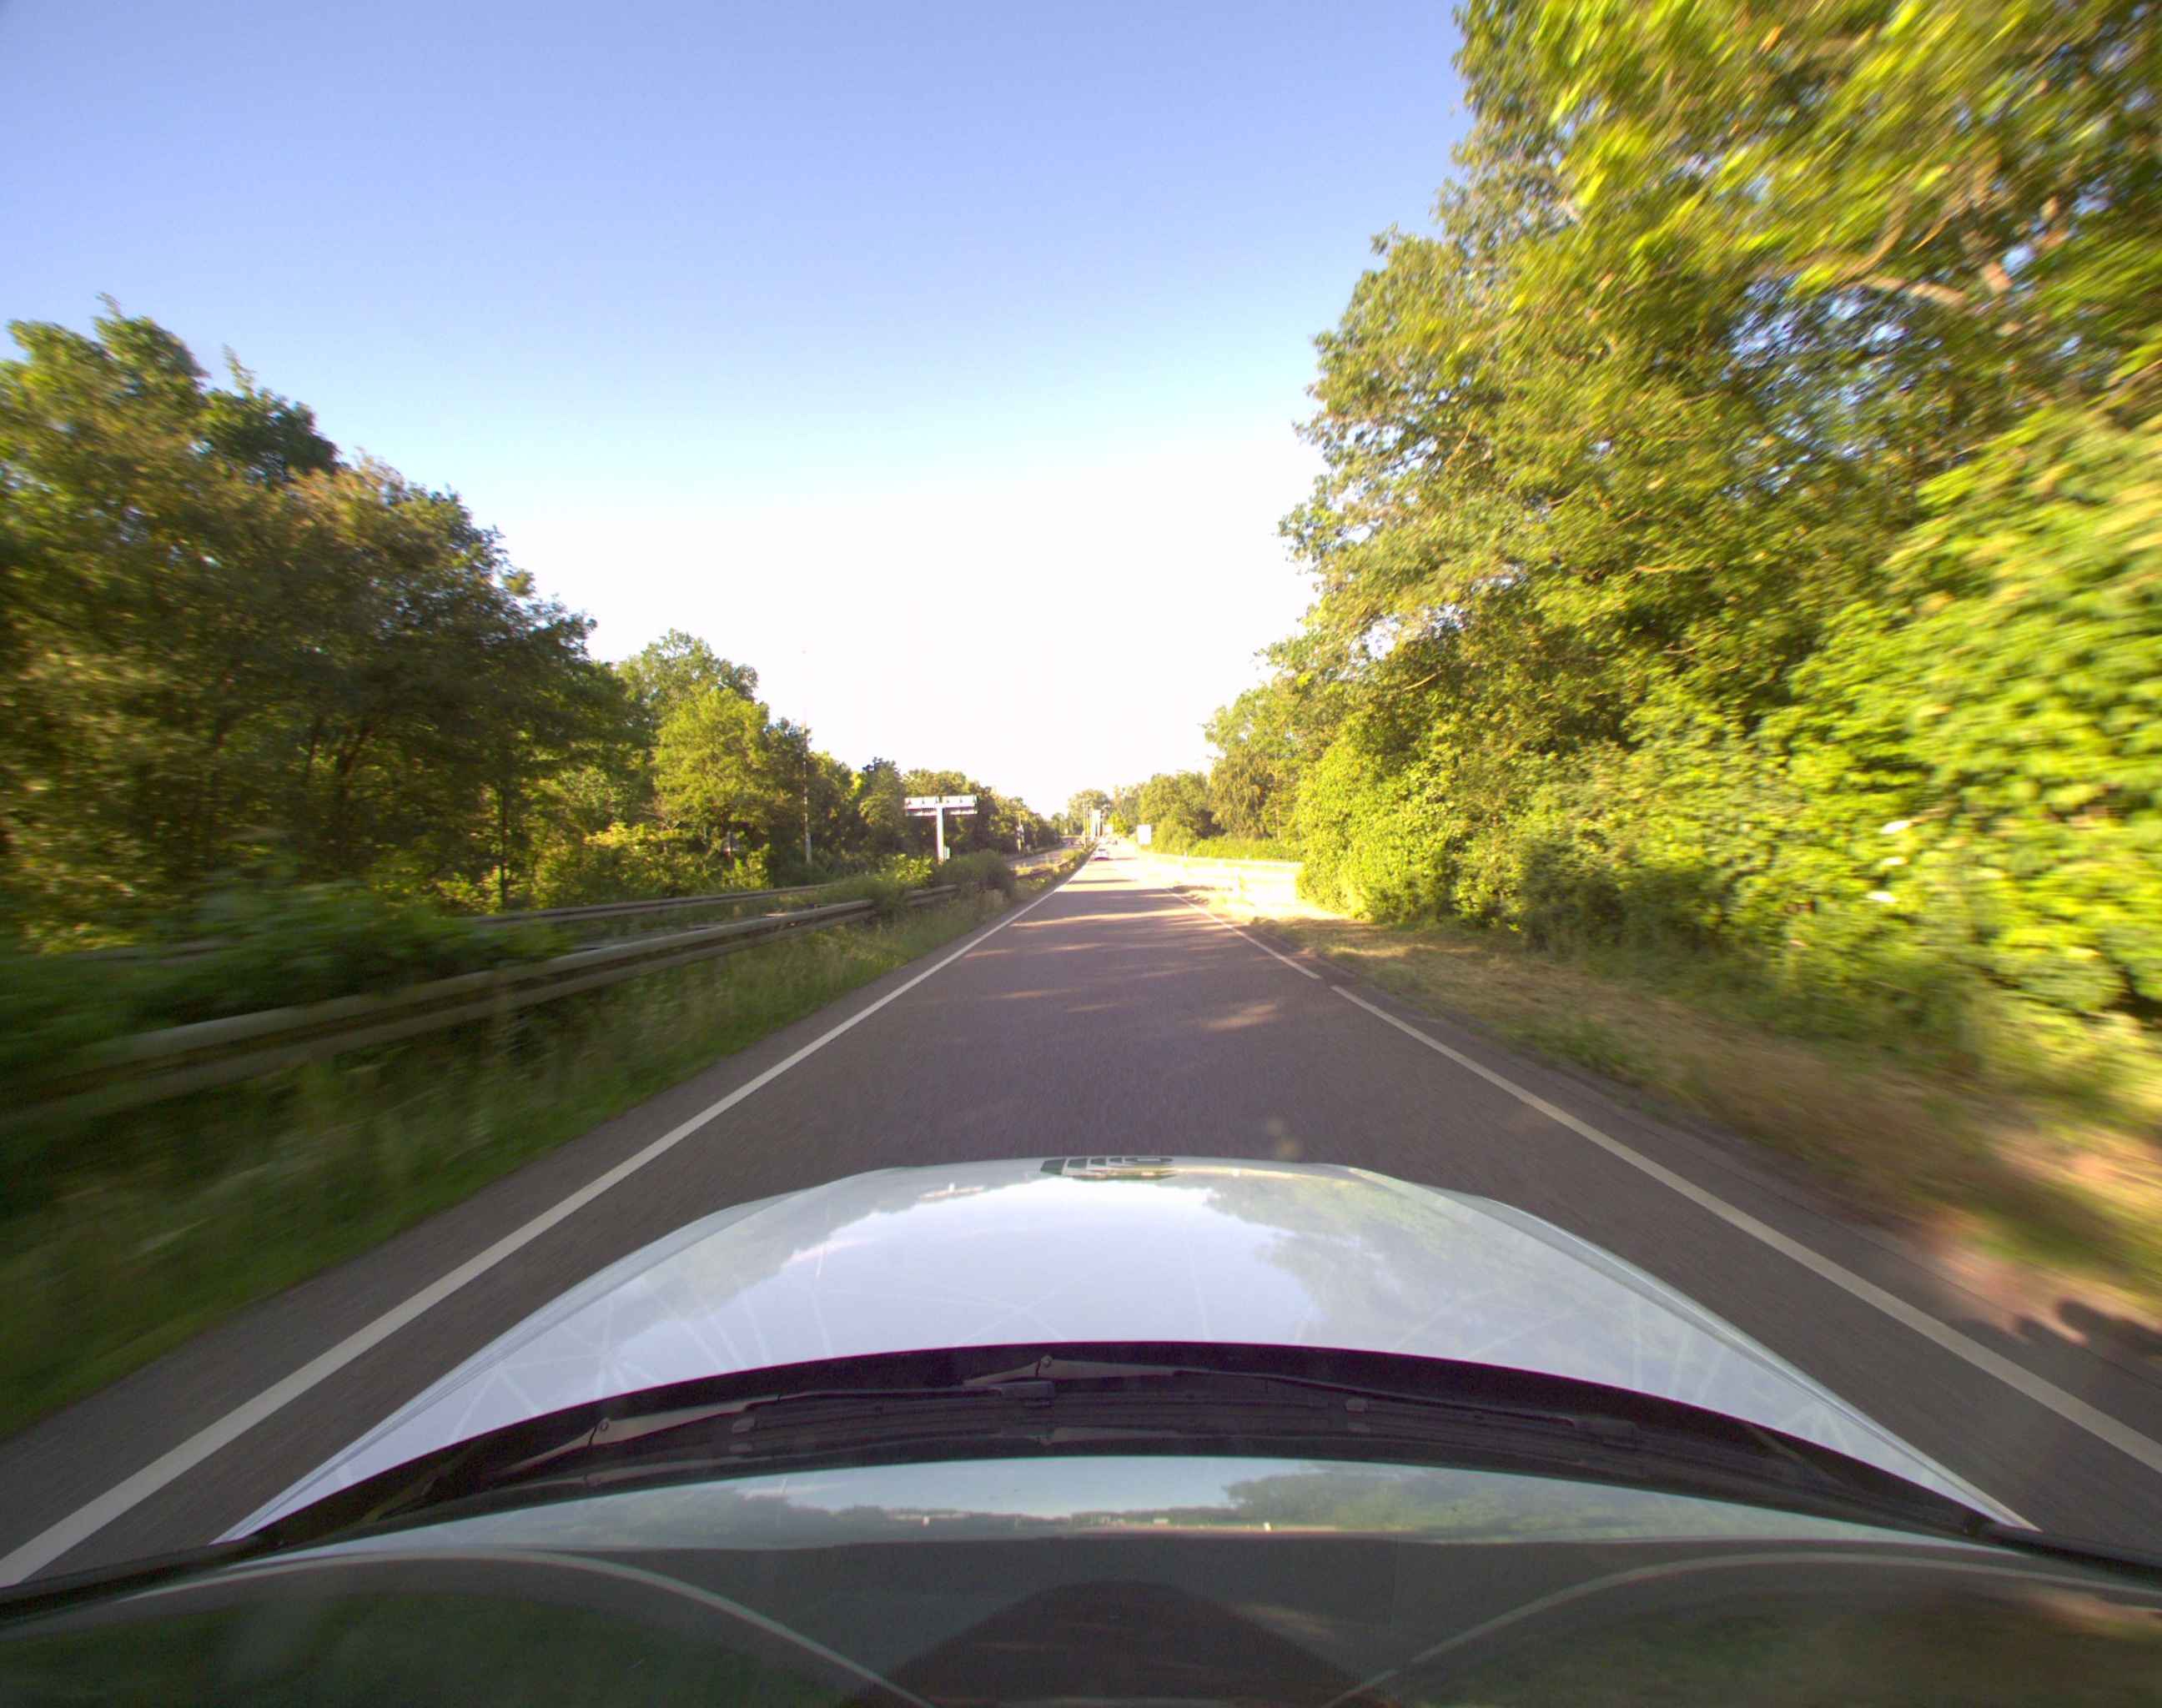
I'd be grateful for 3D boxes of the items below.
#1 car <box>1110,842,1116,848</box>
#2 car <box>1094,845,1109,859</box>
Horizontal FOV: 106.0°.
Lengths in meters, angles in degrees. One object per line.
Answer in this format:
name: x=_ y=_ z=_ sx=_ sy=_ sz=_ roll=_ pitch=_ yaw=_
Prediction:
car: x=9.883 y=-2.831 z=249.132 sx=1.790 sy=1.829 sz=3.420 roll=1 pitch=0 yaw=3
car: x=2.692 y=-0.222 z=108.000 sx=1.879 sy=1.816 sz=3.998 roll=0 pitch=0 yaw=-1
